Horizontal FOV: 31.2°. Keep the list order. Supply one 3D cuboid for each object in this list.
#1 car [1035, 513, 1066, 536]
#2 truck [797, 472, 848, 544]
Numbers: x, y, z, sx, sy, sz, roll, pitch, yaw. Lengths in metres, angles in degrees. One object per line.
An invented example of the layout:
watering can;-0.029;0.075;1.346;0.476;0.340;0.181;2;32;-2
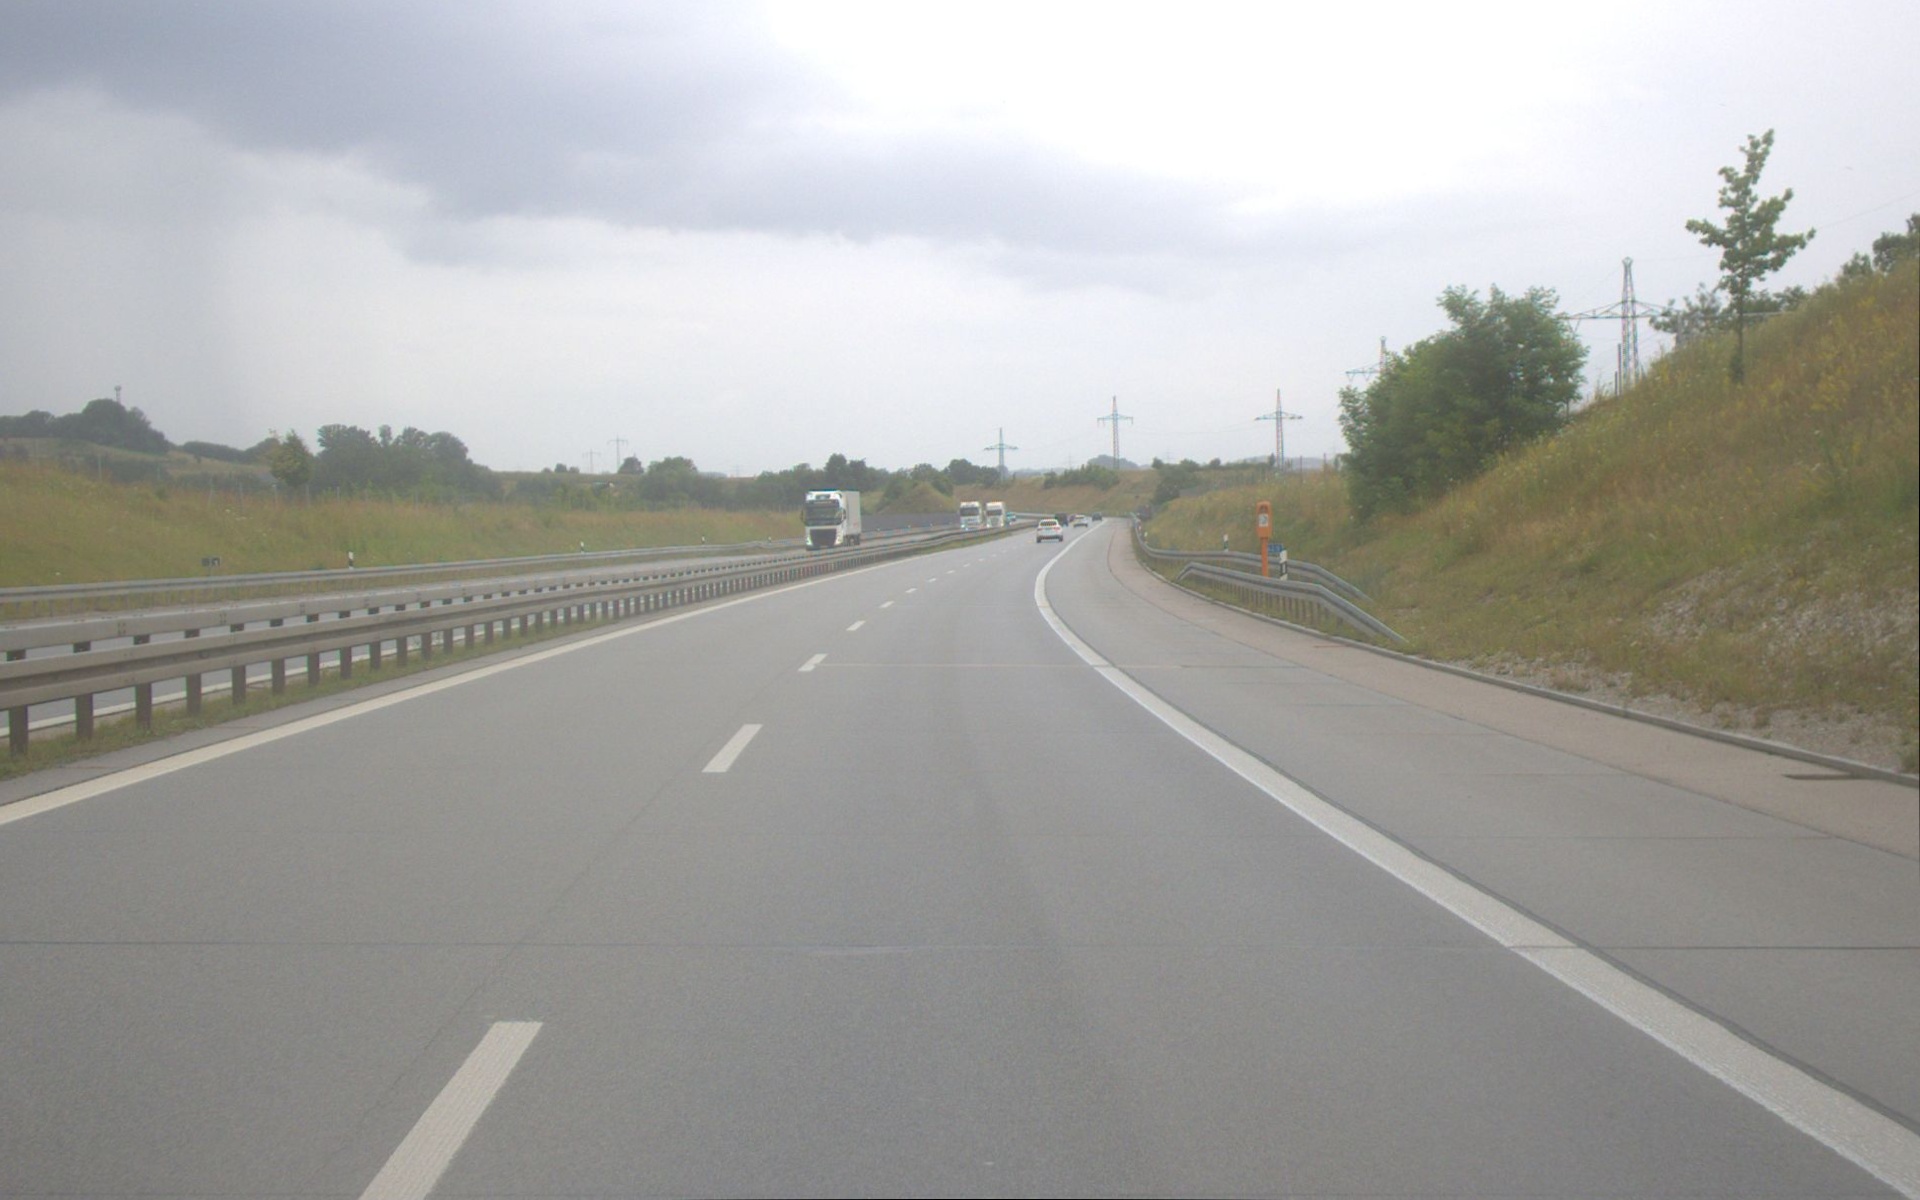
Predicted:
car;6.597;-5.462;249.164;1.957;1.645;3.999;-1;1;5
truck;-9.035;-6.045;225.970;2.795;4.631;6.920;-1;1;2
